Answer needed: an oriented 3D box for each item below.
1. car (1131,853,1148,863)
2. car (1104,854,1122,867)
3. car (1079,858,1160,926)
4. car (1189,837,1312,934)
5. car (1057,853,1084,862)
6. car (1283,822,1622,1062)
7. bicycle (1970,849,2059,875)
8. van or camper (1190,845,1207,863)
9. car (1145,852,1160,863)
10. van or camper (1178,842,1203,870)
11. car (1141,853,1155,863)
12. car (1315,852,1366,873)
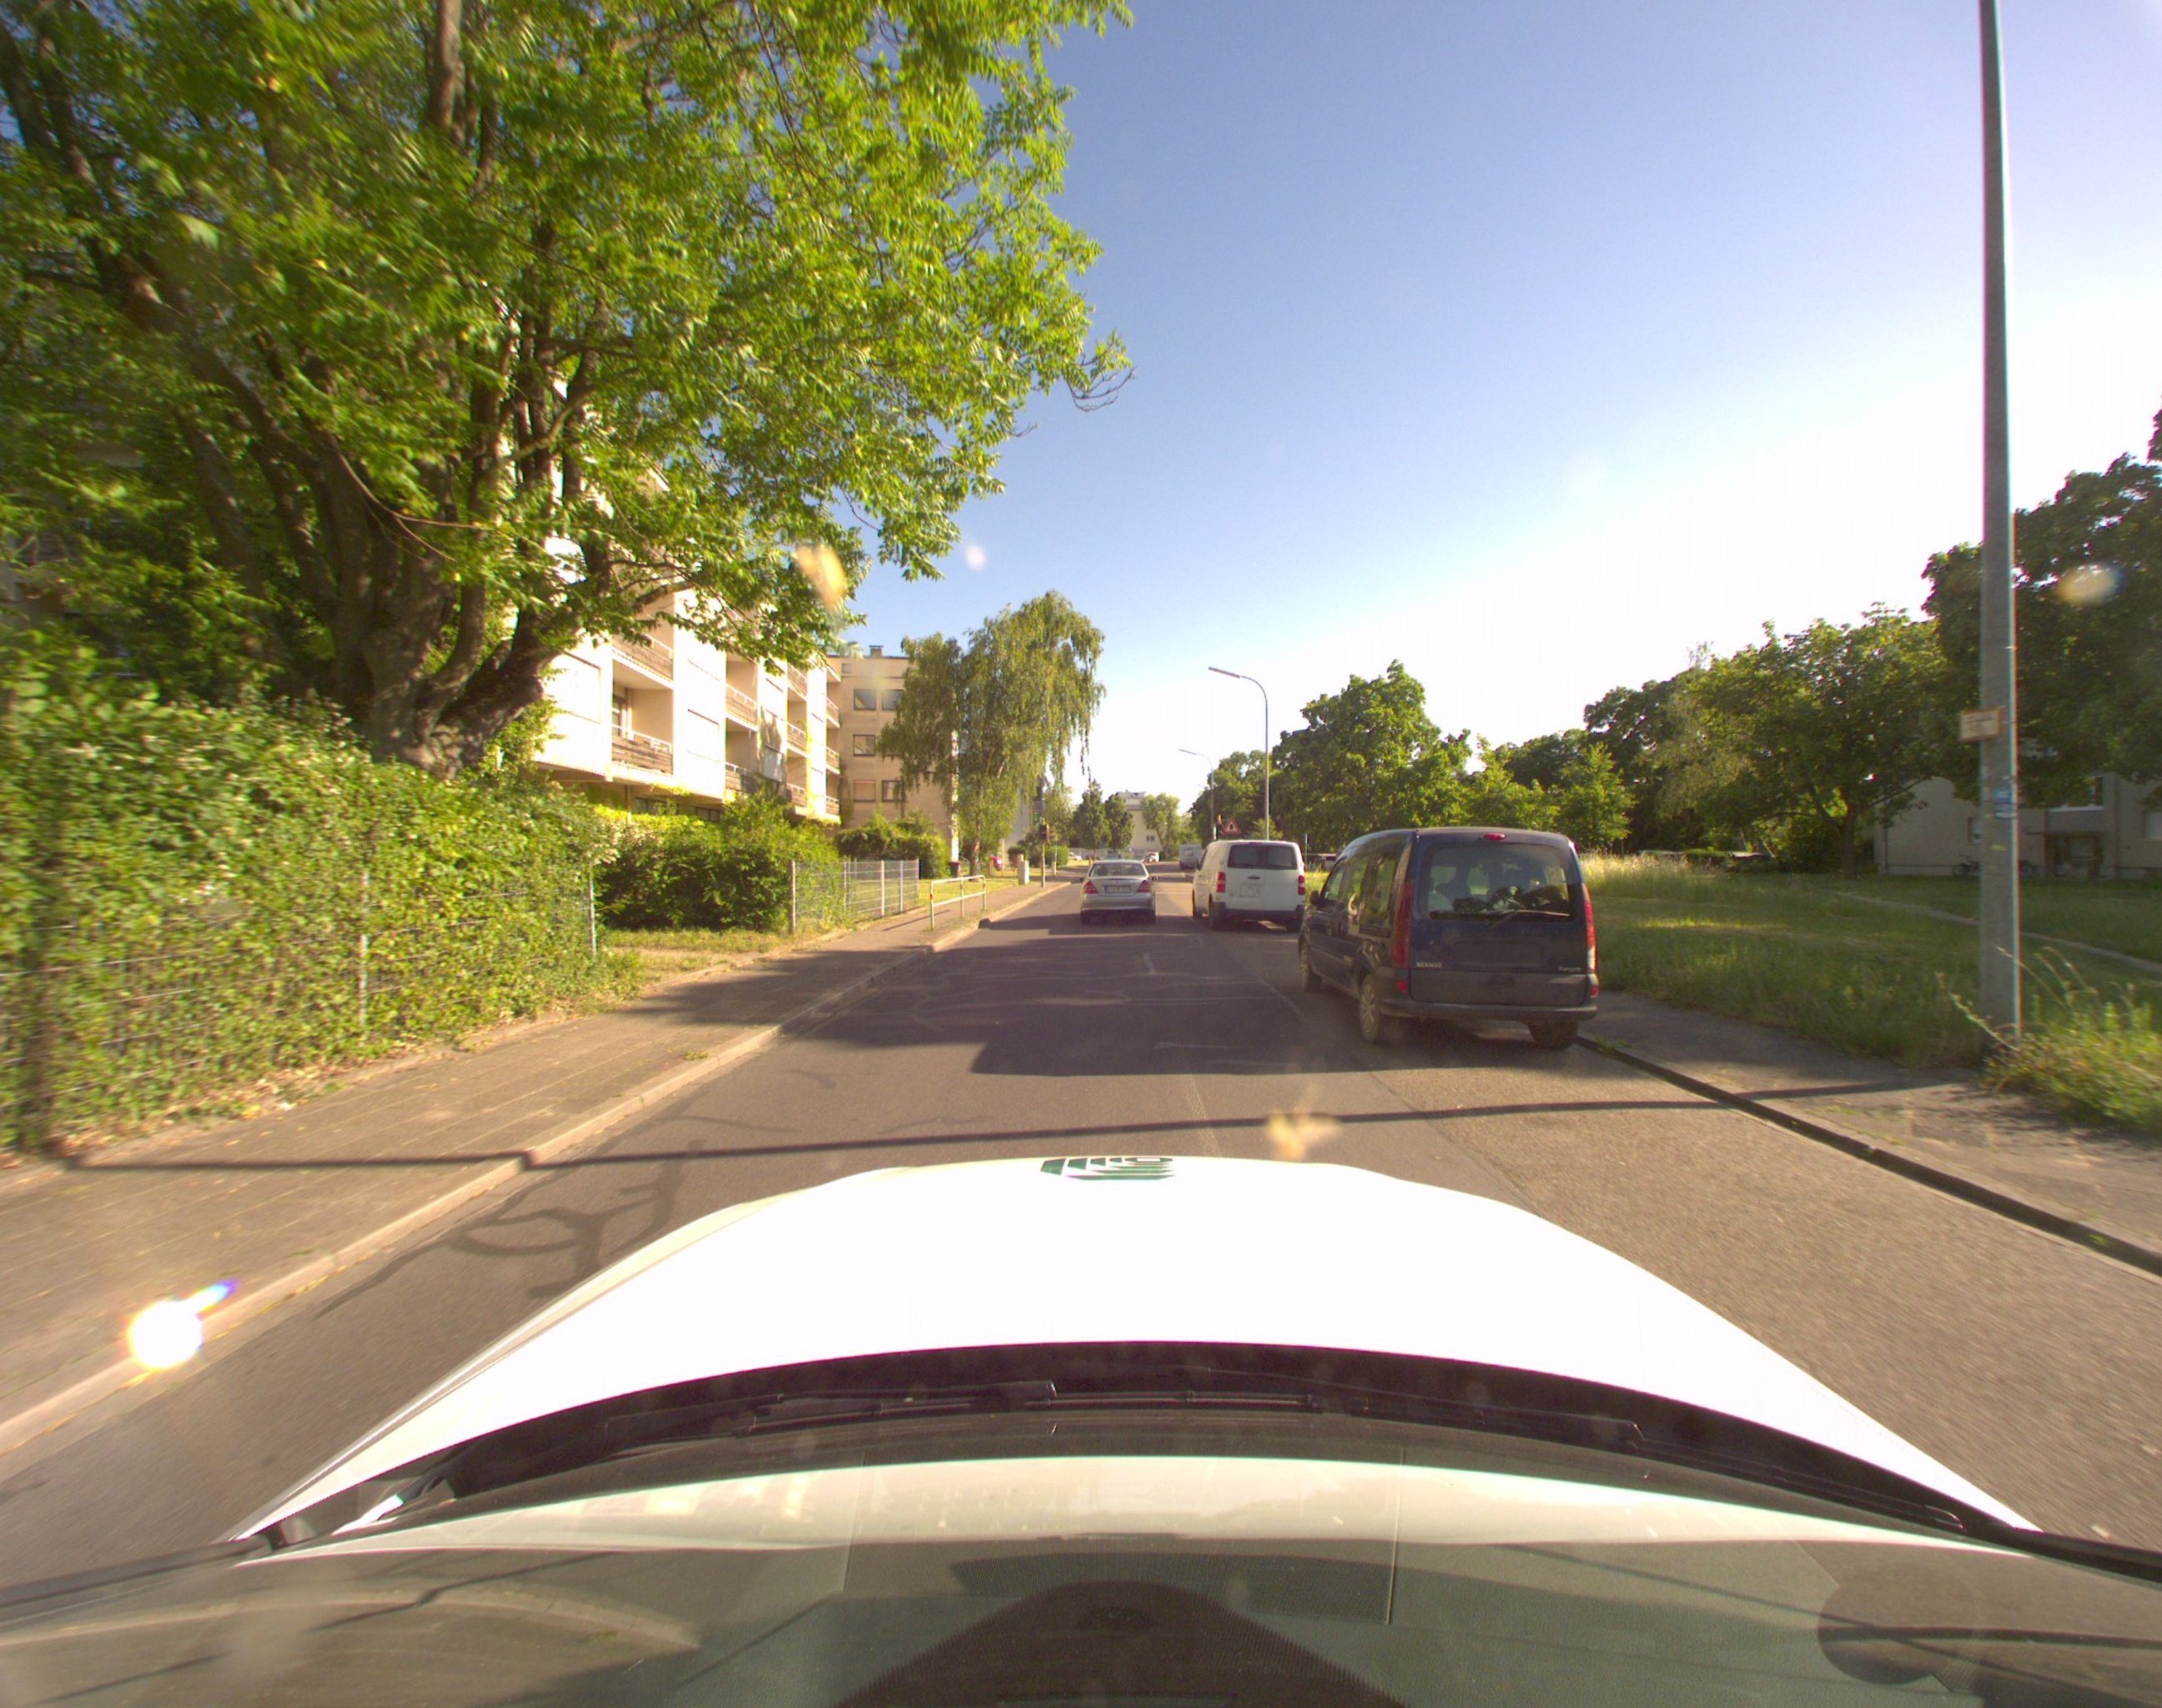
[{"bbox_3d":[9.303,0.642,128.229,2.022,1.492,5.271,2,1,10],"label":"car"},{"bbox_3d":[3.691,0.734,93.362,1.637,1.466,4.341,1,0,8],"label":"car"},{"bbox_3d":[0.897,0.821,19.090,1.726,1.434,3.440,0,0,2],"label":"car"},{"bbox_3d":[3.662,0.615,18.478,1.908,1.871,4.868,1,0,2],"label":"car"},{"bbox_3d":[-2.203,0.705,172.711,5.064,1.951,2.248,-1,0,18],"label":"car"},{"bbox_3d":[3.225,0.632,8.019,1.690,1.730,4.088,1,0,4],"label":"car"},{"bbox_3d":[45.243,0.397,39.508,0.941,1.205,2.678,0,0,-21],"label":"bicycle"},{"bbox_3d":[19.269,-0.067,133.197,2.481,2.845,6.870,-1,0,10],"label":"van or camper"},{"bbox_3d":[12.936,0.611,147.264,2.001,1.885,5.207,1,0,12],"label":"car"},{"bbox_3d":[11.248,0.189,83.599,2.339,2.596,6.439,-3,0,7],"label":"van or camper"},{"bbox_3d":[11.603,0.700,140.884,1.821,1.518,4.235,2,0,11],"label":"car"},{"bbox_3d":[20.260,0.651,63.707,3.659,1.578,1.835,0,0,13],"label":"car"}]
